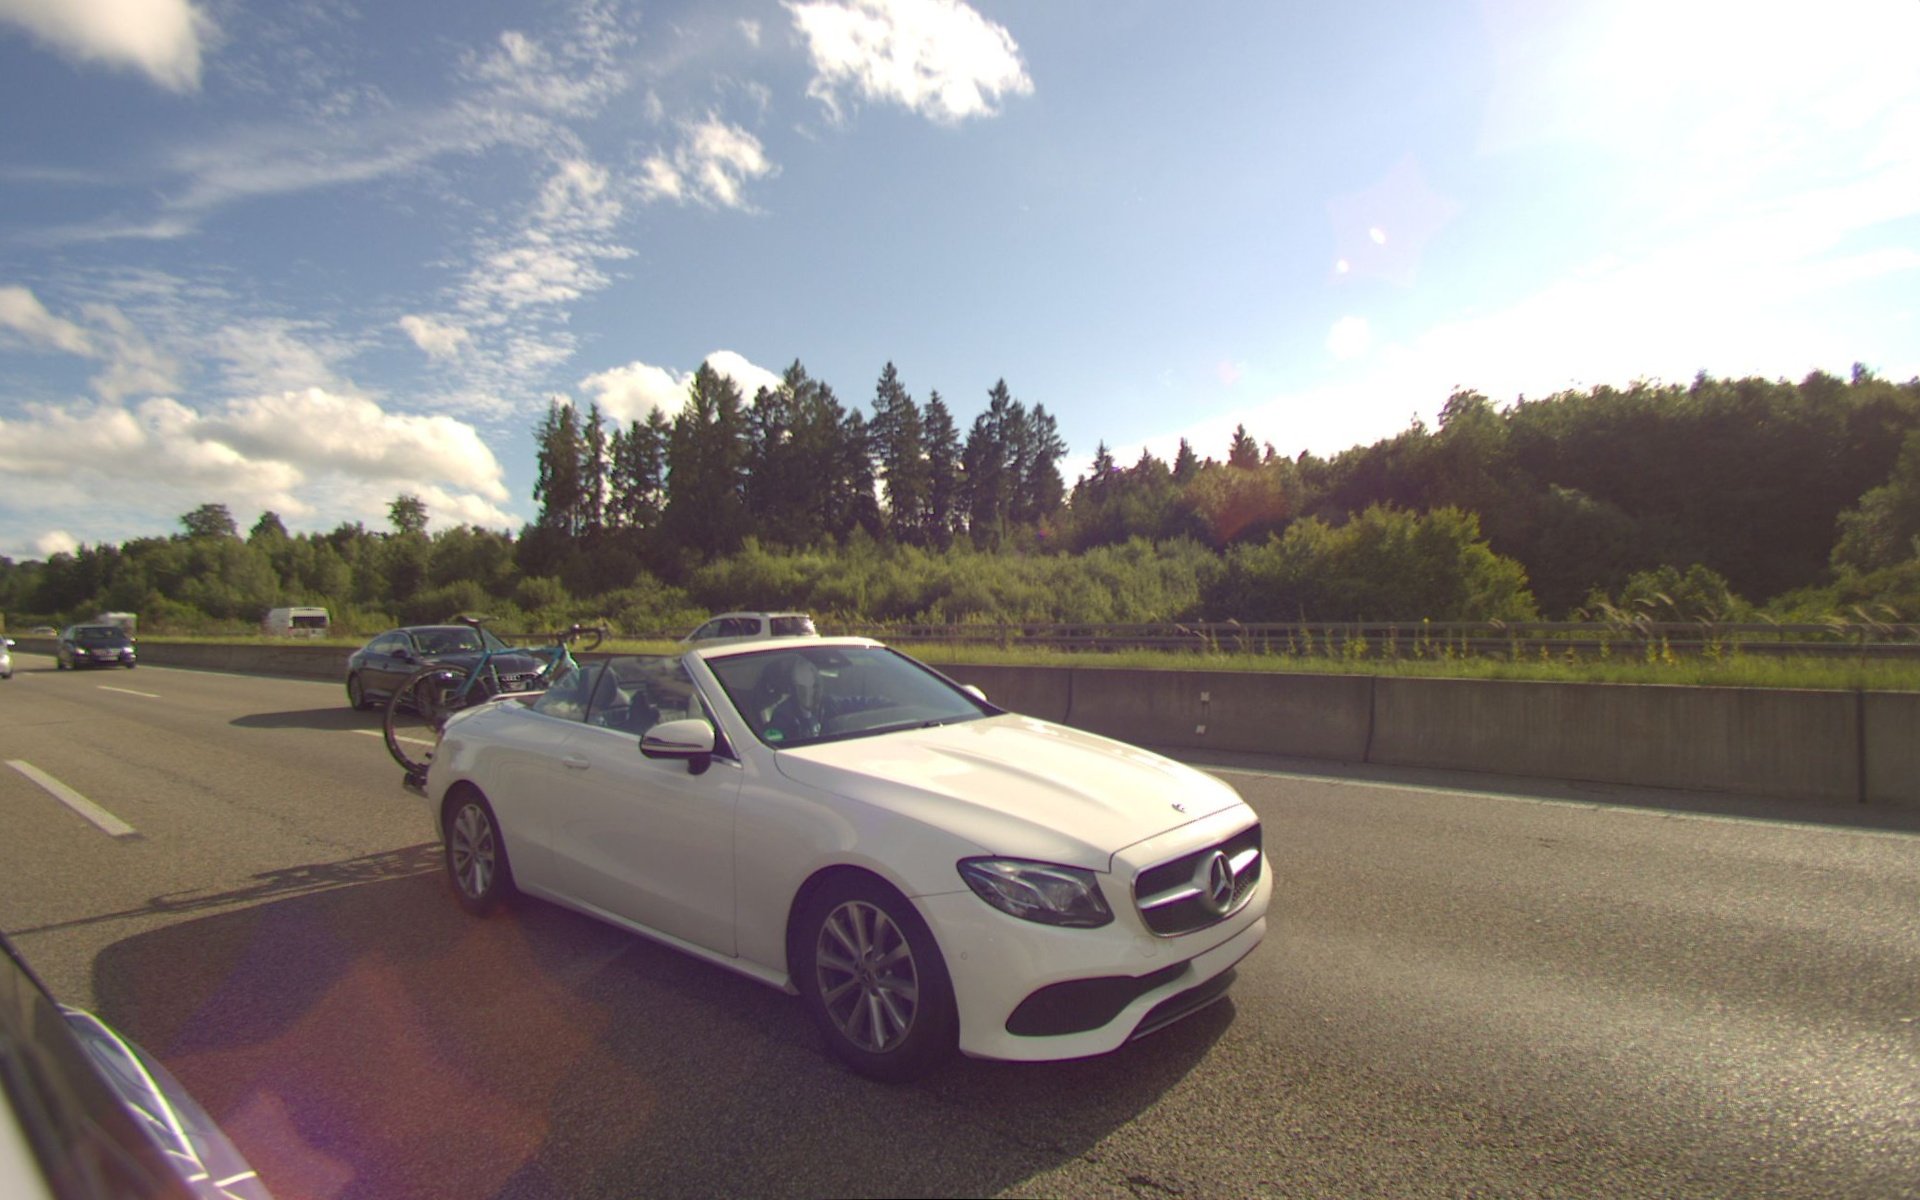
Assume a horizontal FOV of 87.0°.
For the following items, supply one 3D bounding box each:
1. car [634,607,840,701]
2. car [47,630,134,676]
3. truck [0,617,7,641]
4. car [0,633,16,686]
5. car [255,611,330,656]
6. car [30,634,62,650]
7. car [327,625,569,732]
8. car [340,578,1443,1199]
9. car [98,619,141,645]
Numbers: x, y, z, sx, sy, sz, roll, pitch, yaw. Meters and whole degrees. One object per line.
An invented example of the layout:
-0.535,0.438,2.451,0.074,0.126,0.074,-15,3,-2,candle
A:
-5.469,1.234,24.401,5.281,1.939,2.075,-2,1,41,car
-31.268,1.868,36.355,4.331,1.529,1.816,-2,-2,42,car
-162.463,4.971,169.339,11.734,3.932,3.281,-2,-1,41,truck
-29.728,1.779,30.251,4.331,1.529,1.816,-2,-2,42,car
-37.526,1.870,56.846,5.443,2.292,2.075,-2,1,41,car
-85.965,3.931,95.162,3.998,1.431,1.800,-2,-2,41,car
-8.338,1.156,16.265,4.839,1.442,1.836,-2,-1,42,car
-0.969,0.779,5.024,5.734,1.511,2.038,-2,-1,42,car
-87.840,3.359,105.719,5.842,2.494,2.518,-2,1,41,car
